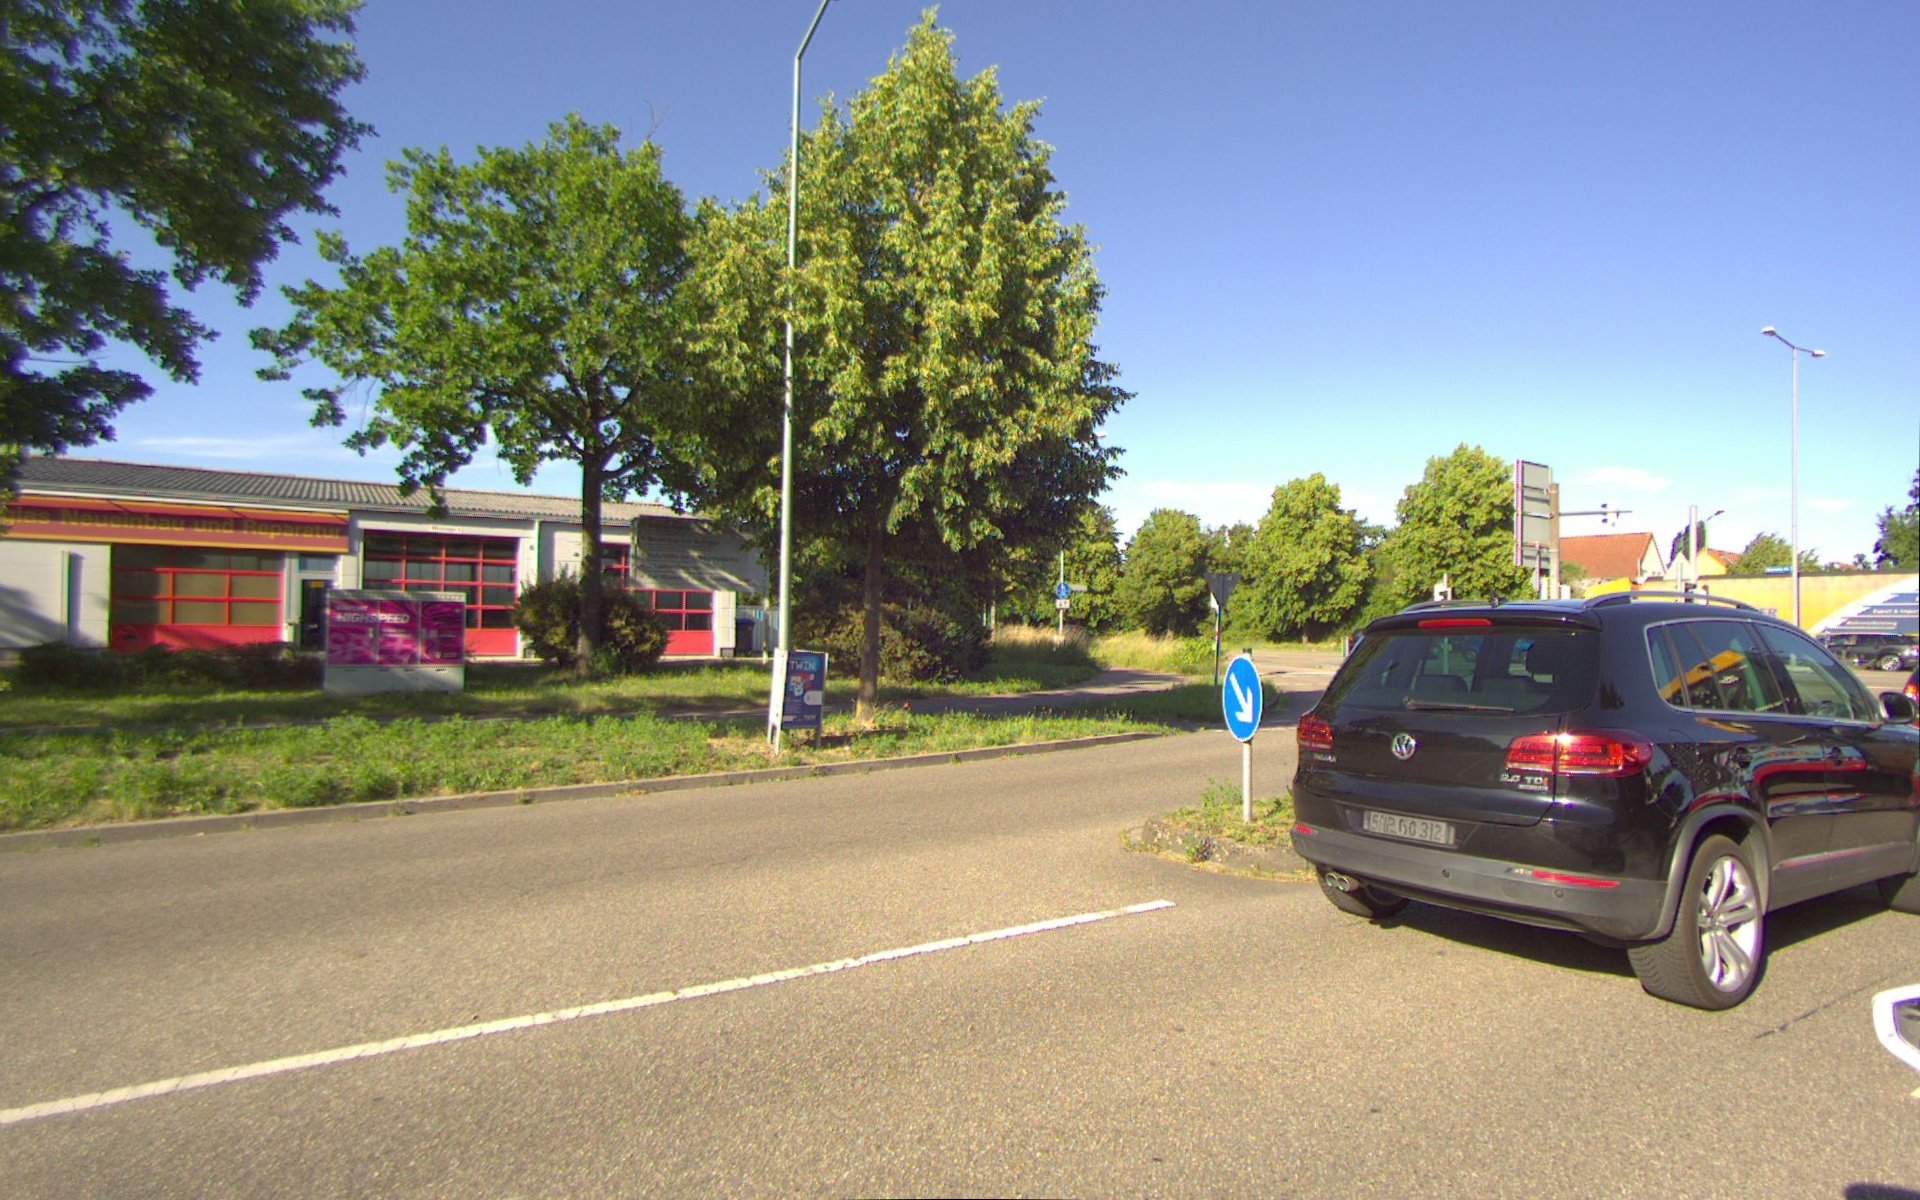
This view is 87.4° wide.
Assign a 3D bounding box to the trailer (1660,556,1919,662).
[{"bbox_3d":[36.576,0.400,41.392,2.446,4.083,12.647,1,-1,-35],"label":"trailer"}]

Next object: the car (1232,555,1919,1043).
[{"bbox_3d":[3.524,0.798,5.317,3.957,1.695,1.812,2,-3,-31],"label":"car"}]

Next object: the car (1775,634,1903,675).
[{"bbox_3d":[38.317,2.343,43.879,1.678,1.633,3.961,1,-1,-35],"label":"car"}]

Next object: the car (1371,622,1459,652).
[{"bbox_3d":[24.080,1.944,53.263,1.550,1.461,3.960,2,-1,-35],"label":"car"}]

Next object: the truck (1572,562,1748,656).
[{"bbox_3d":[32.596,0.451,46.990,2.449,4.051,6.354,1,-1,-36],"label":"truck"}]

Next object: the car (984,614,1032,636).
[{"bbox_3d":[4.068,2.148,85.775,1.982,1.737,3.957,2,-1,-37],"label":"car"}]

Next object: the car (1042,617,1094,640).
[{"bbox_3d":[8.126,2.160,75.798,1.680,1.573,3.959,2,-1,-36],"label":"car"}]

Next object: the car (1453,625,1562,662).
[{"bbox_3d":[23.721,1.883,43.594,1.668,1.403,3.817,2,-1,-38],"label":"car"}]

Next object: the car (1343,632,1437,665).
[{"bbox_3d":[20.197,2.251,47.252,1.494,1.330,3.817,2,-1,-38],"label":"car"}]

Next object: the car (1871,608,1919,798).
[{"bbox_3d":[10.282,0.887,9.201,3.985,1.642,1.746,0,-1,-30],"label":"car"}]
